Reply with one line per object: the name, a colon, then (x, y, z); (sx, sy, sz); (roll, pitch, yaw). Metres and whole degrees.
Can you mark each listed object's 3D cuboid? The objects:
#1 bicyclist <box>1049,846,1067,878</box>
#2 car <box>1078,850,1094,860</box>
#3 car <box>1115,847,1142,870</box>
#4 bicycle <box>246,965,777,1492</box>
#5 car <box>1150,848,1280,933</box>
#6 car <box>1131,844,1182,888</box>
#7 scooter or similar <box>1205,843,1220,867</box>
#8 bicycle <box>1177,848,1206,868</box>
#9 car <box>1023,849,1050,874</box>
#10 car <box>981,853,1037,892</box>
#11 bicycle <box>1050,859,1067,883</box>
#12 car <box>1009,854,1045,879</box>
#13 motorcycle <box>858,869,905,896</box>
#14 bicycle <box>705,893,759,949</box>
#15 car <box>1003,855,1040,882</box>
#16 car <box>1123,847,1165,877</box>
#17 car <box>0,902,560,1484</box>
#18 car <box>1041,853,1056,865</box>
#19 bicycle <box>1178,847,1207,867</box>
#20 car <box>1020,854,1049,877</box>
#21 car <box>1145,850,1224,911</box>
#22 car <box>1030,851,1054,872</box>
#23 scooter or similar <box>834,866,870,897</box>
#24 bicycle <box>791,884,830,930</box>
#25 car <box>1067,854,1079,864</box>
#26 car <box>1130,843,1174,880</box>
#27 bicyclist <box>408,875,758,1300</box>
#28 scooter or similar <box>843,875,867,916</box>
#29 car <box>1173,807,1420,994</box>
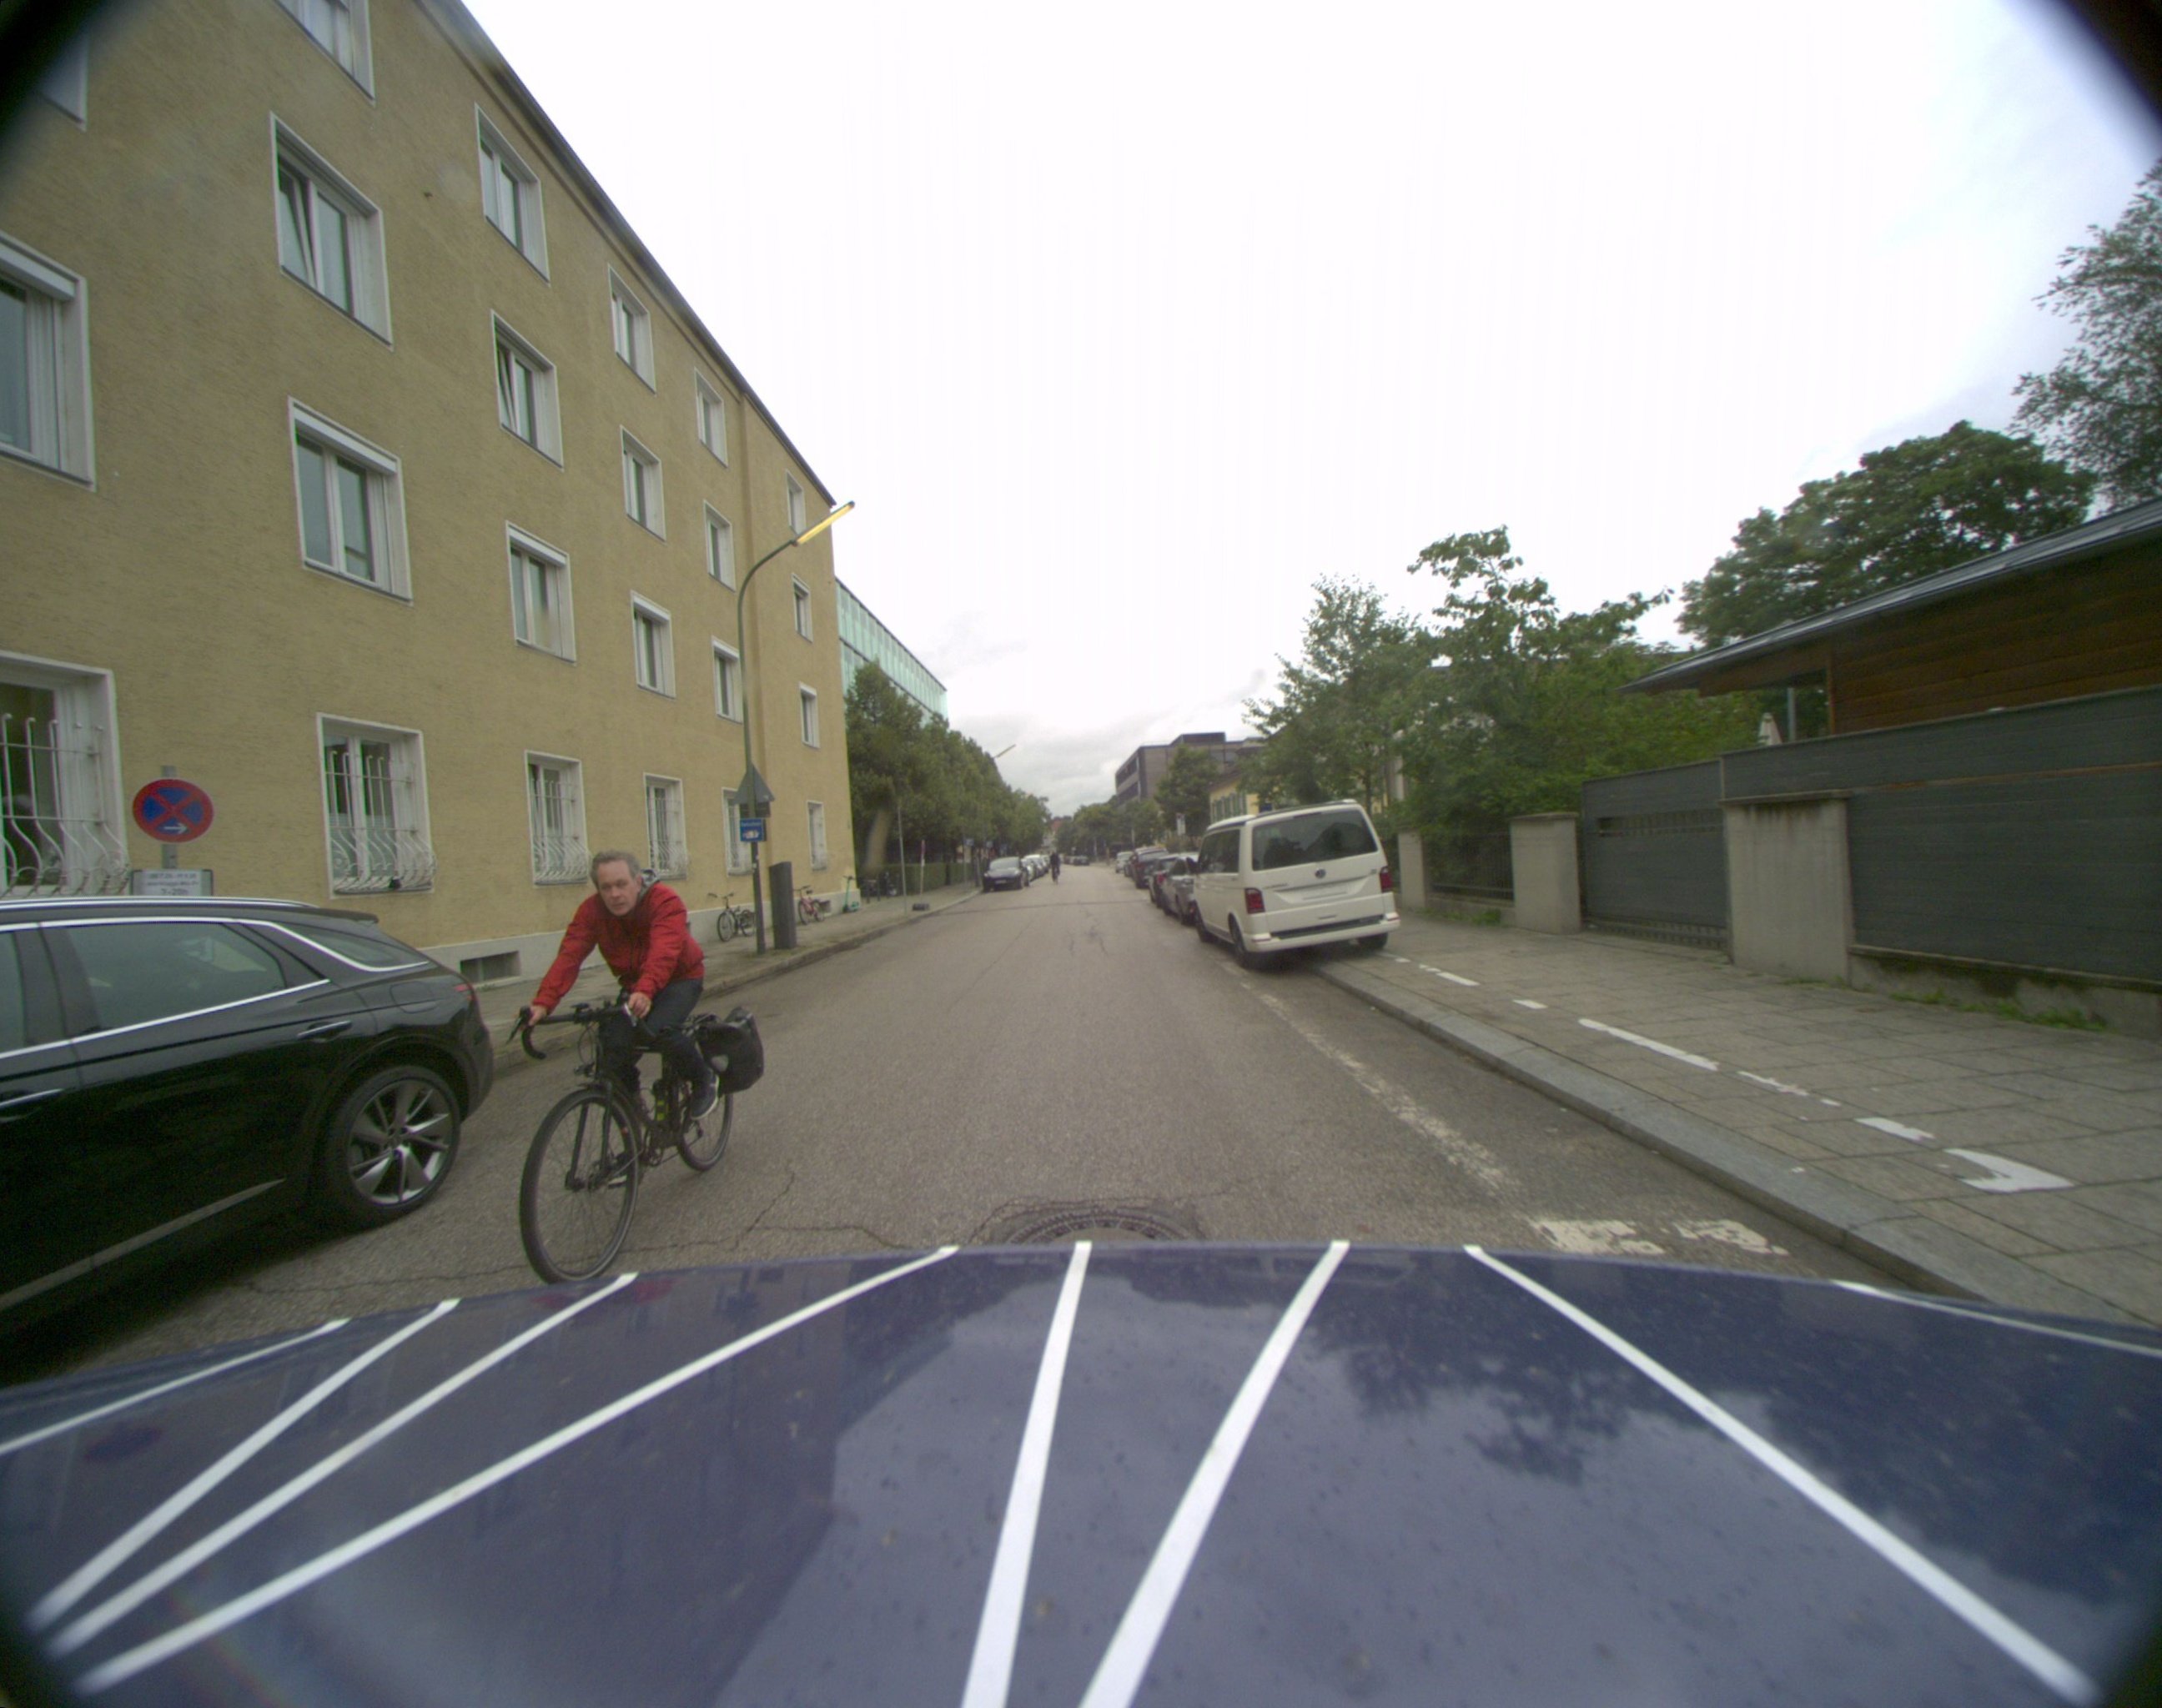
bicyclist: (-1.237, 0.436, 40.830); (0.780, 1.657, 1.035); (-5, 0, 1)
car: (0.730, 0.134, 113.618); (1.929, 1.390, 4.485); (-3, 0, -4)
car: (3.551, 0.320, 57.823); (1.729, 1.483, 4.461); (-5, 0, 1)
bicycle: (-2.012, 1.211, 3.168); (0.674, 1.135, 2.010); (-5, 1, -3)
car: (2.842, 0.711, 17.228); (1.892, 1.535, 4.695); (-4, 0, -2)
car: (3.231, 0.459, 33.184); (1.850, 1.598, 4.743); (-5, 0, 3)
scooter or similar: (7.571, 0.054, 43.724); (0.375, 1.335, 1.355); (-3, 1, 28)
bicycle: (6.827, 0.229, 46.879); (1.633, 1.130, 0.387); (-4, 1, -1)
car: (-3.804, 0.606, 65.640); (1.789, 1.884, 4.573); (-5, 1, 1)
car: (-3.576, 0.881, 38.873); (1.998, 1.621, 5.100); (-5, 0, 3)
bicycle: (-1.202, 0.897, 40.787); (0.720, 1.199, 1.801); (-5, -1, 0)
car: (-3.763, 0.843, 53.872); (1.967, 1.543, 4.849); (-5, 0, 1)
motorcycle: (-8.890, 1.282, 33.919); (1.898, 1.126, 0.708); (-1, 1, 2)
bicycle: (-7.818, 1.466, 17.096); (0.343, 1.076, 1.813); (-1, 1, 1)
car: (-3.729, 0.886, 48.414); (1.999, 1.451, 4.956); (-5, 0, -1)
car: (3.696, 0.438, 45.485); (1.901, 1.510, 4.654); (-5, 0, -2)
car: (-4.191, 1.141, 2.268); (1.865, 1.568, 4.898); (-3, 0, -1)
car: (-4.716, 0.670, 109.171); (1.959, 1.494, 4.485); (-5, 0, -4)
bicycle: (6.934, 0.182, 47.254); (1.705, 1.165, 0.352); (-4, 1, -1)
car: (-3.591, 0.864, 59.763); (1.952, 1.543, 5.004); (-5, 0, -1)
car: (2.928, 0.701, 22.317); (1.863, 1.536, 4.188); (-2, 1, 2)
car: (-3.653, 0.680, 71.678); (1.872, 1.682, 4.784); (-5, 0, -1)
scooter or similar: (-10.265, 1.239, 34.116); (1.352, 1.295, 0.670); (-2, 3, -3)
bicycle: (-7.431, 1.430, 20.949); (0.343, 1.129, 1.759); (-3, 0, 1)
car: (-1.469, 0.920, 142.769); (1.999, 1.510, 3.998); (-5, 1, -4)
car: (3.693, 0.352, 40.089); (1.906, 1.682, 4.808); (-5, 0, 2)
bicyclist: (-2.042, 0.875, 3.300); (0.756, 1.474, 0.981); (-5, 1, -3)
scooter or similar: (-7.353, 1.341, 24.731); (0.343, 1.248, 1.309); (-2, 1, 1)
car: (2.776, 0.516, 11.250); (1.971, 1.979, 5.150); (-5, 1, -1)
